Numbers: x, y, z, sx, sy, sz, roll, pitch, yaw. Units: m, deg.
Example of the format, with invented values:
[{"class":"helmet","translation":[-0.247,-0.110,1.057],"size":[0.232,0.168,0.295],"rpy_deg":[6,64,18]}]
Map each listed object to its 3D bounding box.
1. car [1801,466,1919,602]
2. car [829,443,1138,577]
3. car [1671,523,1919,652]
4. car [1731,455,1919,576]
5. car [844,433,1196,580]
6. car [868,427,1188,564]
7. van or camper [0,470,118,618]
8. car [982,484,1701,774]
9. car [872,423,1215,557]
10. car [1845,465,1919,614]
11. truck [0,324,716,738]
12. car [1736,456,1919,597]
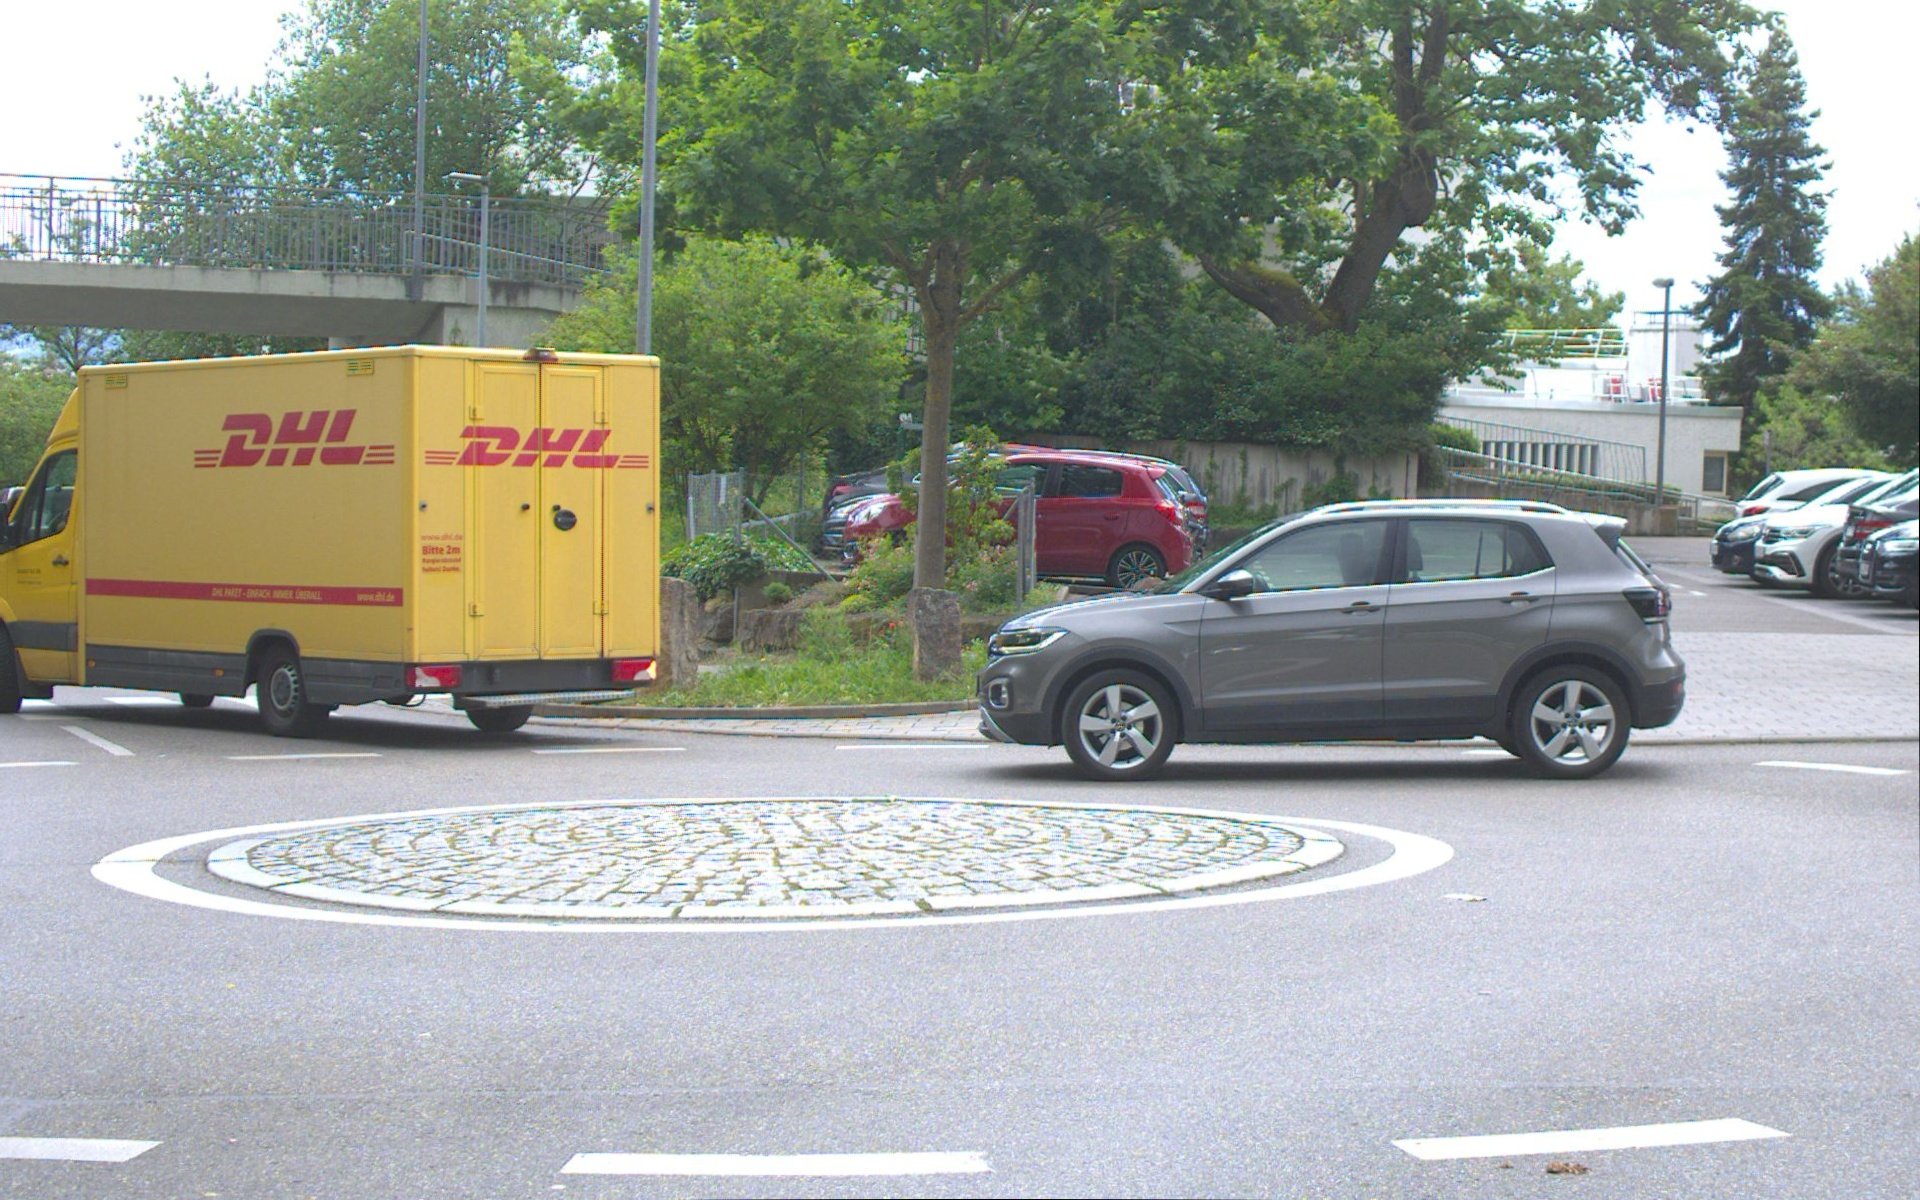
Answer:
[{"class":"car","translation":[11.470,-0.696,38.342],"size":[3.828,1.454,1.692],"rpy_deg":[2,1,7]},{"class":"car","translation":[0.302,-1.094,41.844],"size":[3.650,1.493,1.684],"rpy_deg":[2,1,2]},{"class":"car","translation":[11.145,-0.161,43.426],"size":[4.042,1.512,1.755],"rpy_deg":[2,1,7]},{"class":"car","translation":[12.331,-1.097,45.468],"size":[3.982,1.512,1.756],"rpy_deg":[2,1,8]},{"class":"car","translation":[0.650,-1.001,36.895],"size":[3.650,1.434,1.684],"rpy_deg":[2,1,2]},{"class":"car","translation":[0.851,-1.346,44.265],"size":[3.987,1.608,1.945],"rpy_deg":[2,1,-1]},{"class":"van or camper","translation":[-16.631,-0.988,62.223],"size":[1.993,2.514,5.472],"rpy_deg":[-2,1,-21]},{"class":"car","translation":[2.169,0.151,20.072],"size":[3.997,1.612,1.722],"rpy_deg":[0,1,3]},{"class":"car","translation":[1.102,-1.495,46.962],"size":[4.543,1.662,1.945],"rpy_deg":[2,1,0]},{"class":"car","translation":[11.464,-0.588,35.936],"size":[4.042,1.512,1.755],"rpy_deg":[2,1,7]},{"class":"truck","translation":[-4.945,-0.502,25.698],"size":[2.467,2.693,6.821],"rpy_deg":[1,1,-43]},{"class":"car","translation":[11.474,-0.837,40.762],"size":[4.119,1.588,1.693],"rpy_deg":[2,1,0]}]
